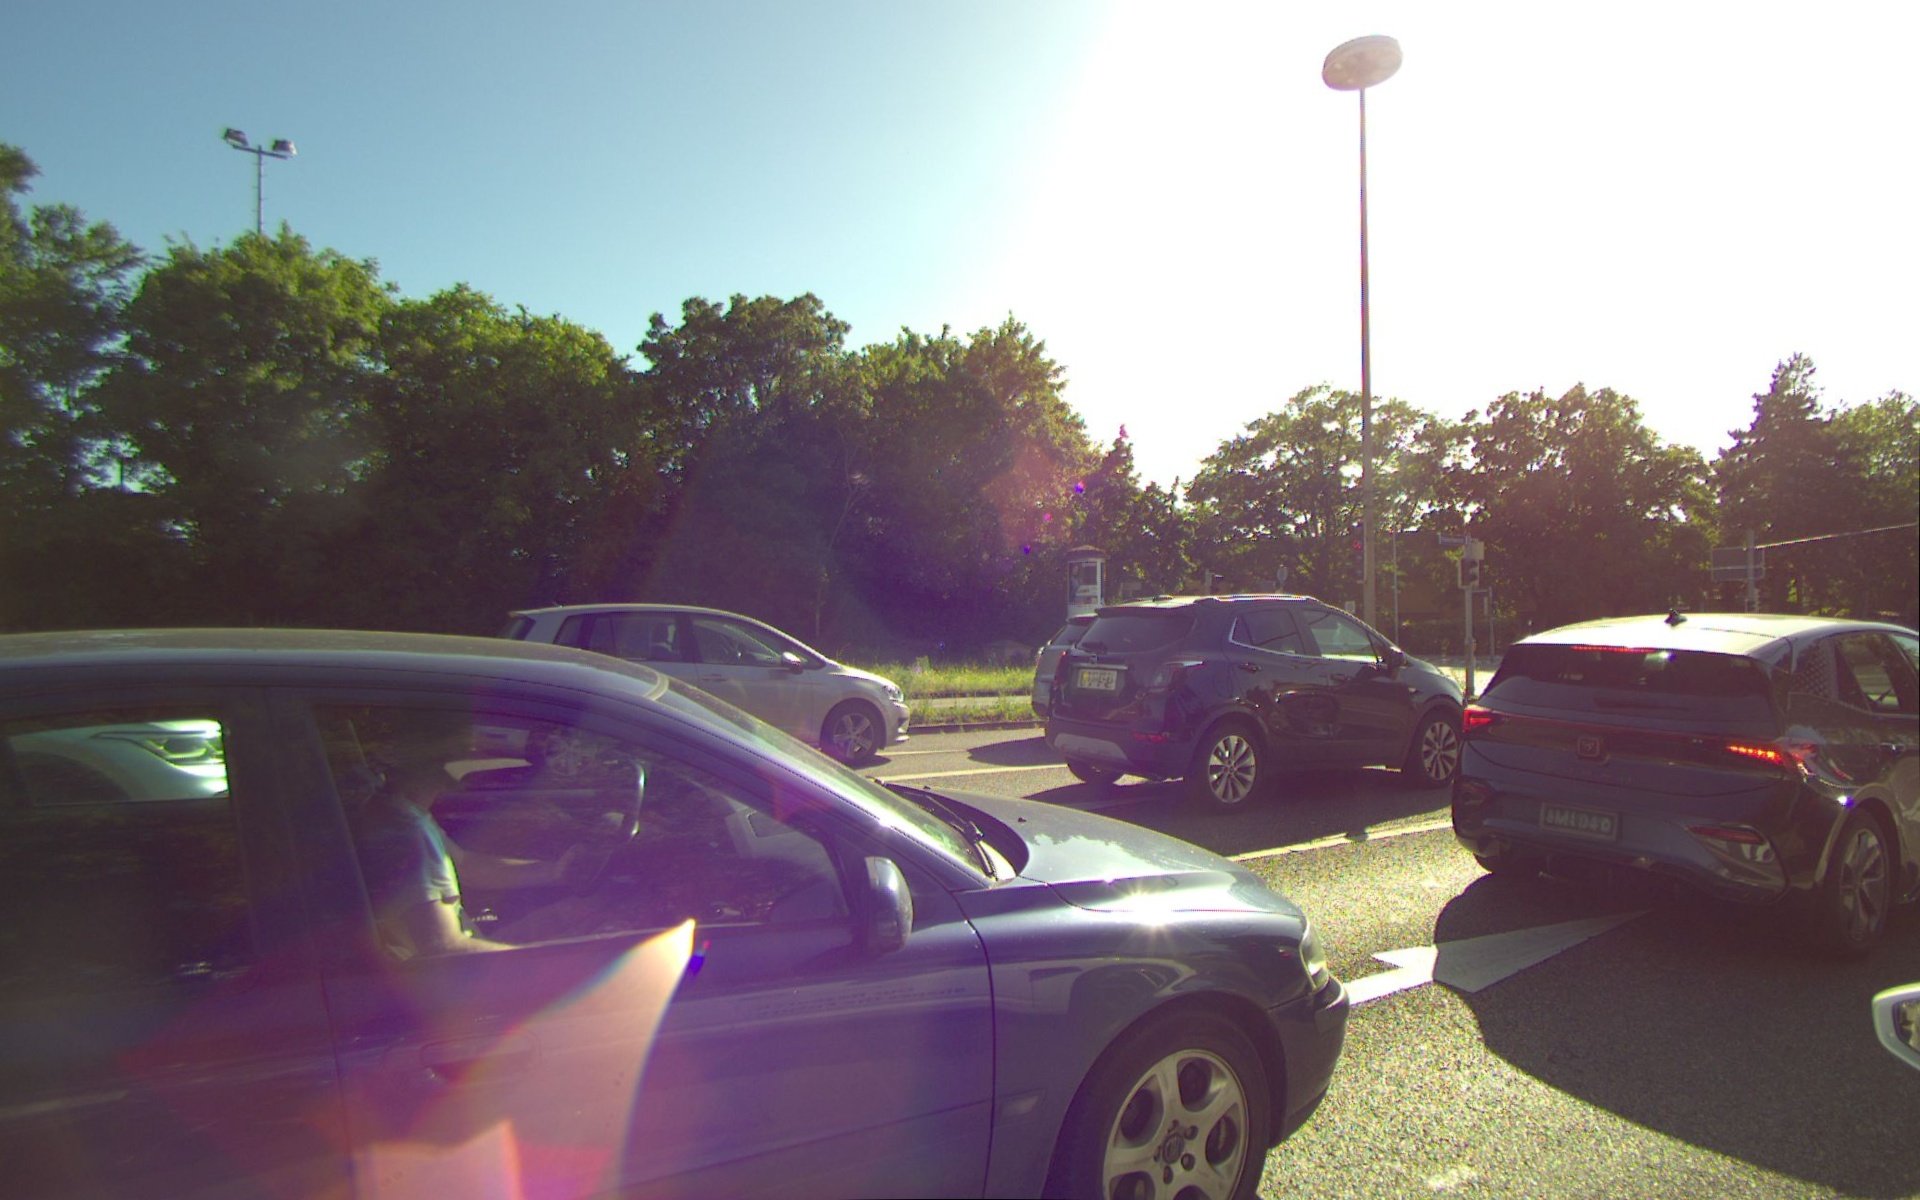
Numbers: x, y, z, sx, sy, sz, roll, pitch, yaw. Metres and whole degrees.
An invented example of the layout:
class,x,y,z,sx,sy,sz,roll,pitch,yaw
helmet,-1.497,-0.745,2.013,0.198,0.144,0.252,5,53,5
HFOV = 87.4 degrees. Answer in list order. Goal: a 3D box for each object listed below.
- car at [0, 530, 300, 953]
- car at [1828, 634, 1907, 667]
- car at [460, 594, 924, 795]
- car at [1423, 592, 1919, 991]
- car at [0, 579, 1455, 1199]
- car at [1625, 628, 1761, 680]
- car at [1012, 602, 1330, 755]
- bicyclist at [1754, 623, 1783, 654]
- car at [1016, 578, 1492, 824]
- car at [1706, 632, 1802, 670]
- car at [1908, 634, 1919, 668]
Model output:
class,x,y,z,sx,sy,sz,roll,pitch,yaw
car,-5.551,0.586,4.329,4.373,1.732,1.984,1,-2,-30
car,42.982,2.364,47.551,3.956,1.529,1.678,1,-2,-30
car,-2.610,0.830,10.006,4.156,1.632,1.822,1,-2,-30
car,4.743,0.823,5.816,4.158,1.601,1.676,2,-1,-30
car,-1.093,0.721,2.202,4.404,1.471,1.767,2,0,-30
car,23.190,1.672,31.749,4.451,1.544,1.880,1,-2,-30
car,2.814,0.948,13.182,3.956,1.724,1.820,1,-2,-32
bicyclist,43.883,2.071,54.522,1.187,1.670,0.870,1,-2,-35
car,2.623,0.765,8.795,3.953,1.711,1.796,1,-2,-30
car,32.069,2.019,40.559,4.172,1.475,1.633,1,-2,-30
car,42.521,2.172,42.964,4.561,1.452,1.678,1,-2,-30
